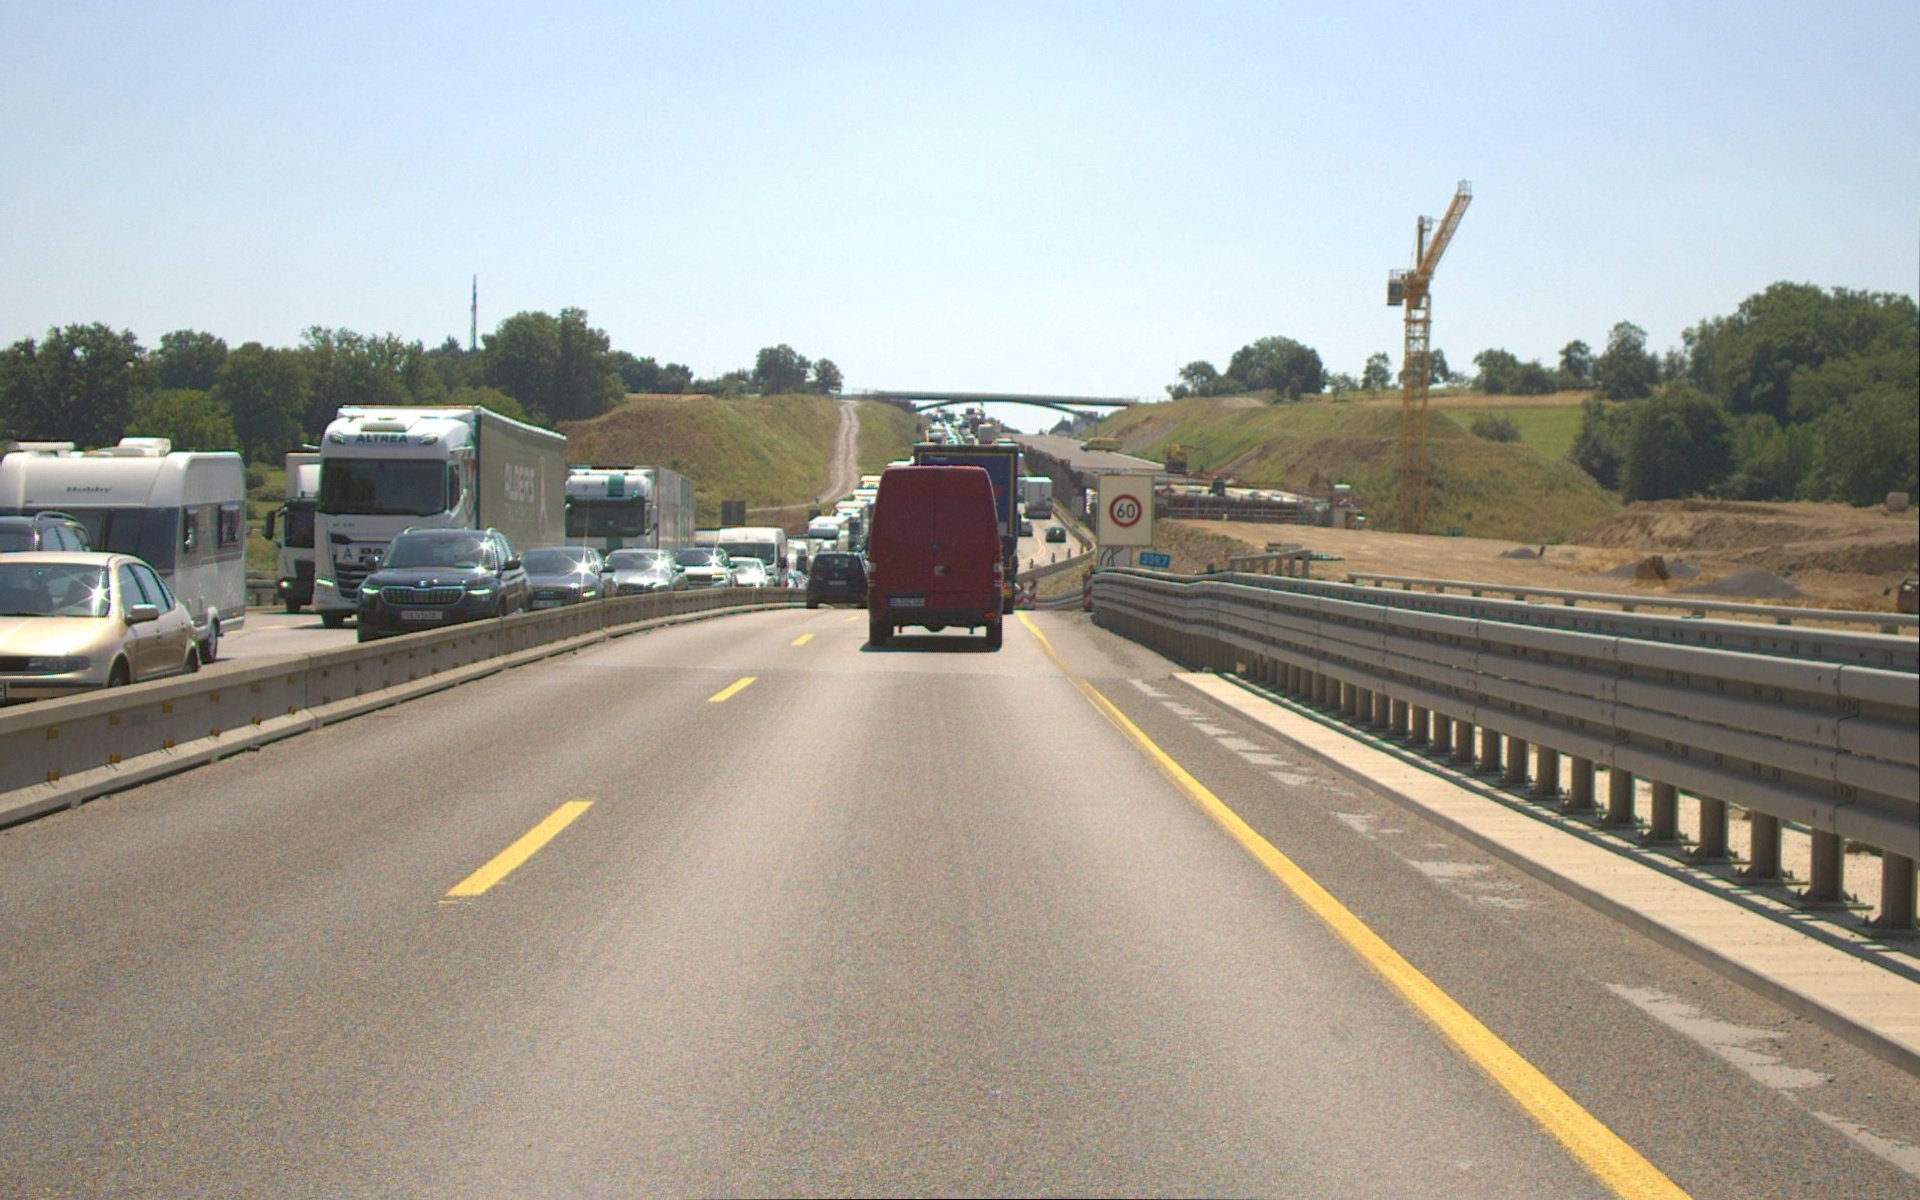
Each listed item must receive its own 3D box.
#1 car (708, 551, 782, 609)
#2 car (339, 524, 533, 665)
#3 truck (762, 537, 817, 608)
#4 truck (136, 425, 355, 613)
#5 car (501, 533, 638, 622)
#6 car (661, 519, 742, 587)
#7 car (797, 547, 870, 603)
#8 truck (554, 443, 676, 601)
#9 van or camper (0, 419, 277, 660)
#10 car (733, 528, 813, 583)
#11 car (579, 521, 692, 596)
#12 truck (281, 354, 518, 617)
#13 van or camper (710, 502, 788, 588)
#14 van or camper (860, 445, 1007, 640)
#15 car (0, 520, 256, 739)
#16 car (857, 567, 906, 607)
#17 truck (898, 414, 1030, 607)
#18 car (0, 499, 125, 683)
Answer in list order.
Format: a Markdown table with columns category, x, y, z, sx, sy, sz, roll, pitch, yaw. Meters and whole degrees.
| category | x | y | z | sx | sy | sz | roll | pitch | yaw |
| --- | --- | --- | --- | --- | --- | --- | --- | --- | --- |
| car | -6.139 | -0.587 | 97.772 | 1.993 | 1.493 | 4.976 | 2 | 1 | -4 |
| car | -6.810 | -0.115 | 45.110 | 1.847 | 1.682 | 4.619 | 2 | 1 | -1 |
| truck | -10.314 | -1.666 | 207.771 | 2.976 | 4.170 | 5.875 | 1 | 0 | -6 |
| truck | -15.280 | -1.743 | 74.151 | 2.904 | 3.752 | 8.368 | 1 | 1 | 0 |
| car | -6.737 | -0.416 | 59.646 | 1.777 | 1.415 | 4.538 | 2 | 1 | 0 |
| car | -6.690 | -1.238 | 89.311 | 1.756 | 1.641 | 4.156 | 2 | 1 | -1 |
| car | -3.598 | -0.742 | 98.400 | 2.012 | 1.540 | 4.133 | 1 | 1 | -2 |
| truck | -9.835 | -2.225 | 98.415 | 2.806 | 4.377 | 6.225 | 0 | 1 | 0 |
| van or camper | -9.990 | -0.730 | 41.181 | 2.503 | 2.689 | 5.243 | 0 | 1 | 1 |
| car | -6.433 | -1.557 | 119.041 | 2.371 | 1.720 | 5.781 | 3 | 1 | 0 |
| car | -6.828 | -0.898 | 72.761 | 1.865 | 1.454 | 4.607 | 2 | 1 | 0 |
| truck | -10.161 | -2.047 | 63.060 | 3.078 | 4.521 | 7.103 | 1 | 1 | 1 |
| van or camper | -6.534 | -1.750 | 107.107 | 2.218 | 2.503 | 6.534 | 3 | 1 | -3 |
| van or camper | -0.443 | -0.853 | 51.108 | 2.029 | 2.735 | 4.516 | 1 | 1 | -2 |
| car | -6.804 | 0.174 | 25.643 | 1.901 | 1.456 | 4.194 | -2 | 1 | 5 |
| car | -3.294 | -0.562 | 144.991 | 2.012 | 1.539 | 4.133 | 2 | 1 | -1 |
| truck | 0.030 | -2.246 | 87.385 | 3.020 | 4.677 | 6.933 | -1 | 1 | -2 |
| car | -9.858 | -0.140 | 34.525 | 1.767 | 1.728 | 4.791 | 1 | 1 | 0 |
